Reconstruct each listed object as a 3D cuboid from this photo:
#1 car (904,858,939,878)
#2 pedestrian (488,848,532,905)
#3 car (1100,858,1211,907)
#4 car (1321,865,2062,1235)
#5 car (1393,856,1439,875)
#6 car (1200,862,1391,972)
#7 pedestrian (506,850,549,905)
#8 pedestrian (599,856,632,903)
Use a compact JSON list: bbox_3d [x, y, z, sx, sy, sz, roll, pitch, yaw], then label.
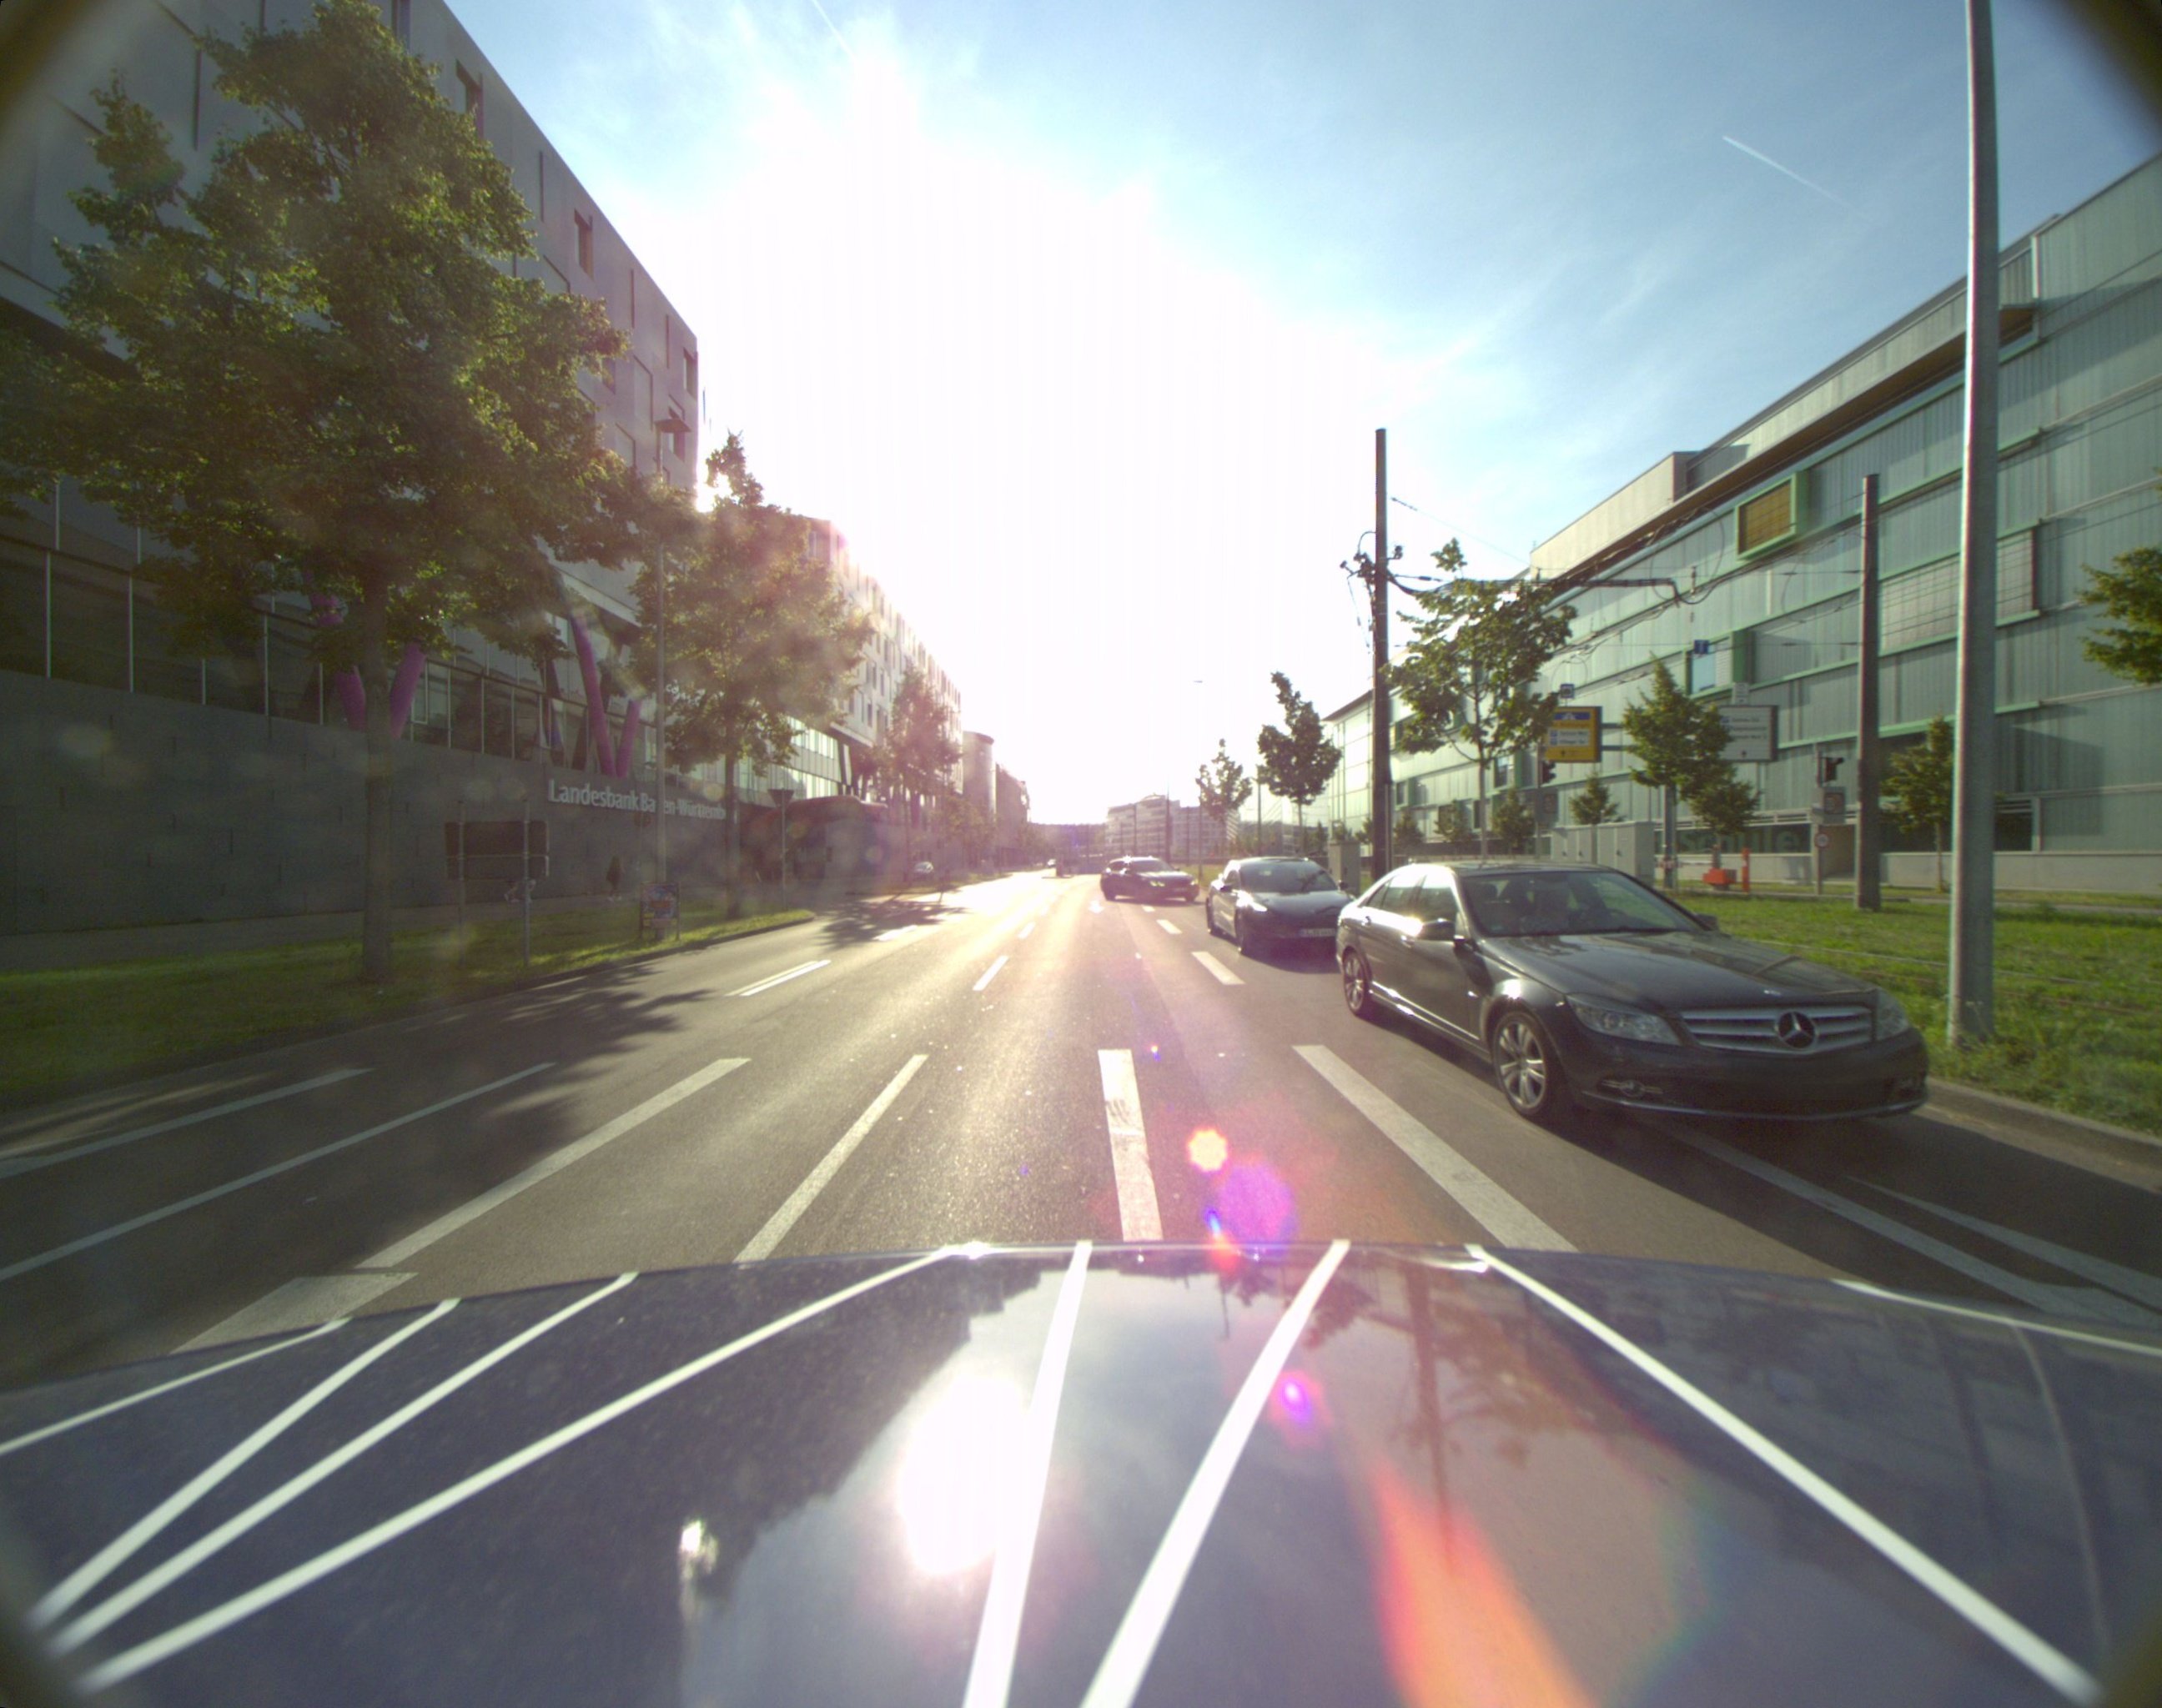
[{"bbox_3d":[-11.601,0.995,55.591,1.696,1.382,4.199,0,-1,-1],"label":"car"},{"bbox_3d":[-18.751,0.732,24.962,0.770,1.814,0.853,2,0,0],"label":"pedestrian"},{"bbox_3d":[2.360,0.864,25.428,1.897,1.418,4.465,-2,1,-20],"label":"car"},{"bbox_3d":[3.267,0.866,5.395,1.791,1.470,4.354,-2,0,1],"label":"car"},{"bbox_3d":[27.548,0.934,62.669,1.882,1.519,4.223,0,0,-1],"label":"car"},{"bbox_3d":[3.219,0.873,12.347,1.894,1.377,4.335,-2,0,1],"label":"car"},{"bbox_3d":[-18.194,0.756,24.998,0.756,1.783,0.844,2,0,0],"label":"pedestrian"},{"bbox_3d":[-16.426,0.879,26.833,0.695,1.629,0.736,1,0,0],"label":"pedestrian"}]
